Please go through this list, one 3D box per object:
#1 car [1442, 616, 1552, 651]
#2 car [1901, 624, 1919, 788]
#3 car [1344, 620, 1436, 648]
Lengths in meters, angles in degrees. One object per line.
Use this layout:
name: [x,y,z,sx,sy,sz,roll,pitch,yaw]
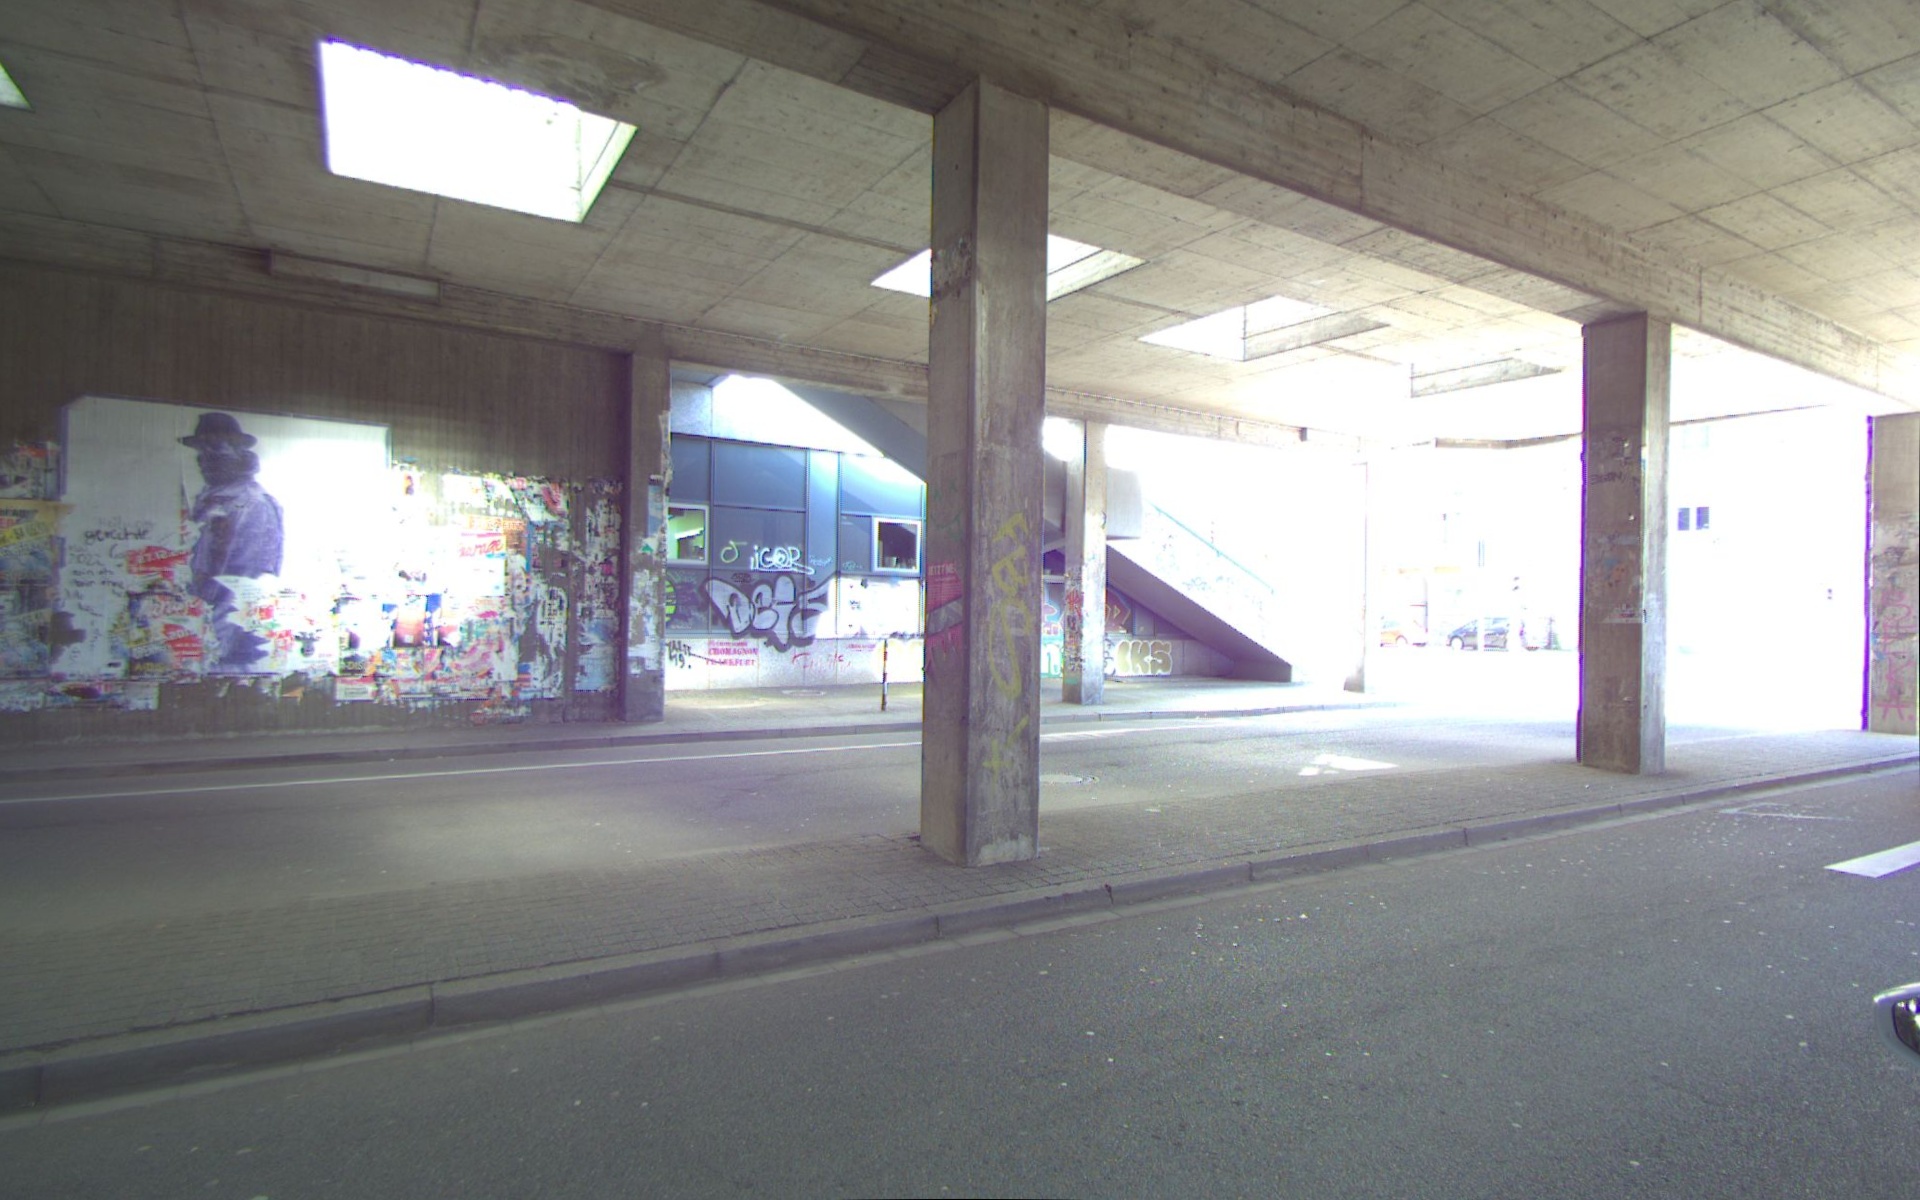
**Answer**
car: [25.415,1.562,47.659,2.240,1.571,4.111,1,-1,-29]
car: [10.733,0.995,9.410,4.131,1.466,1.770,1,0,-32]
car: [22.493,1.747,52.670,2.163,1.392,3.971,1,-1,-28]
